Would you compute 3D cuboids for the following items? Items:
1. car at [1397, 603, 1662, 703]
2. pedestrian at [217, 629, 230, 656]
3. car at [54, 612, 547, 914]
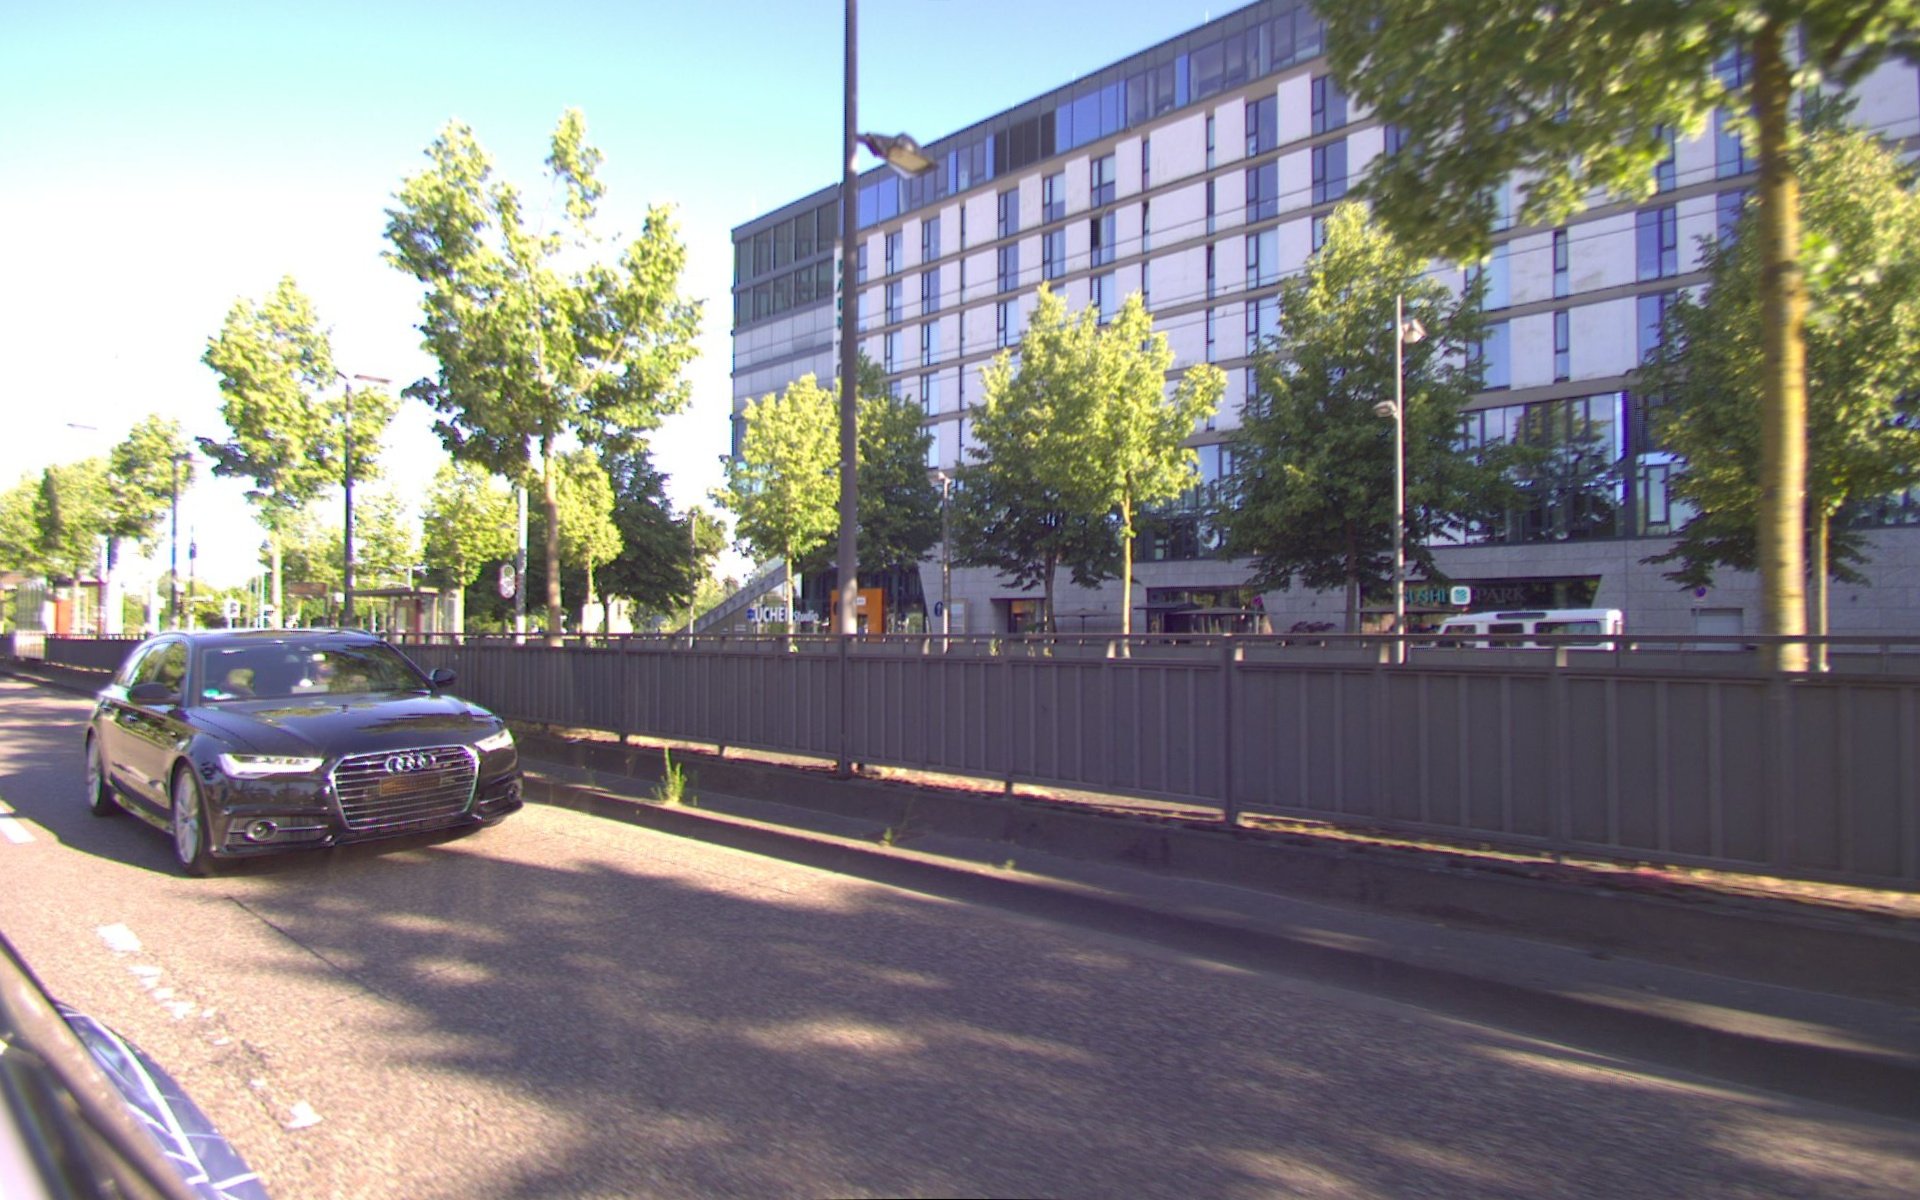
[{"bbox_3d":[11.133,1.015,19.933,4.225,1.763,1.973,-2,-3,41],"label":"car"},{"bbox_3d":[-44.352,2.536,60.929,0.810,1.590,0.413,0,-1,39],"label":"pedestrian"},{"bbox_3d":[-4.977,0.893,7.342,4.598,1.538,1.766,-2,-2,40],"label":"car"}]
